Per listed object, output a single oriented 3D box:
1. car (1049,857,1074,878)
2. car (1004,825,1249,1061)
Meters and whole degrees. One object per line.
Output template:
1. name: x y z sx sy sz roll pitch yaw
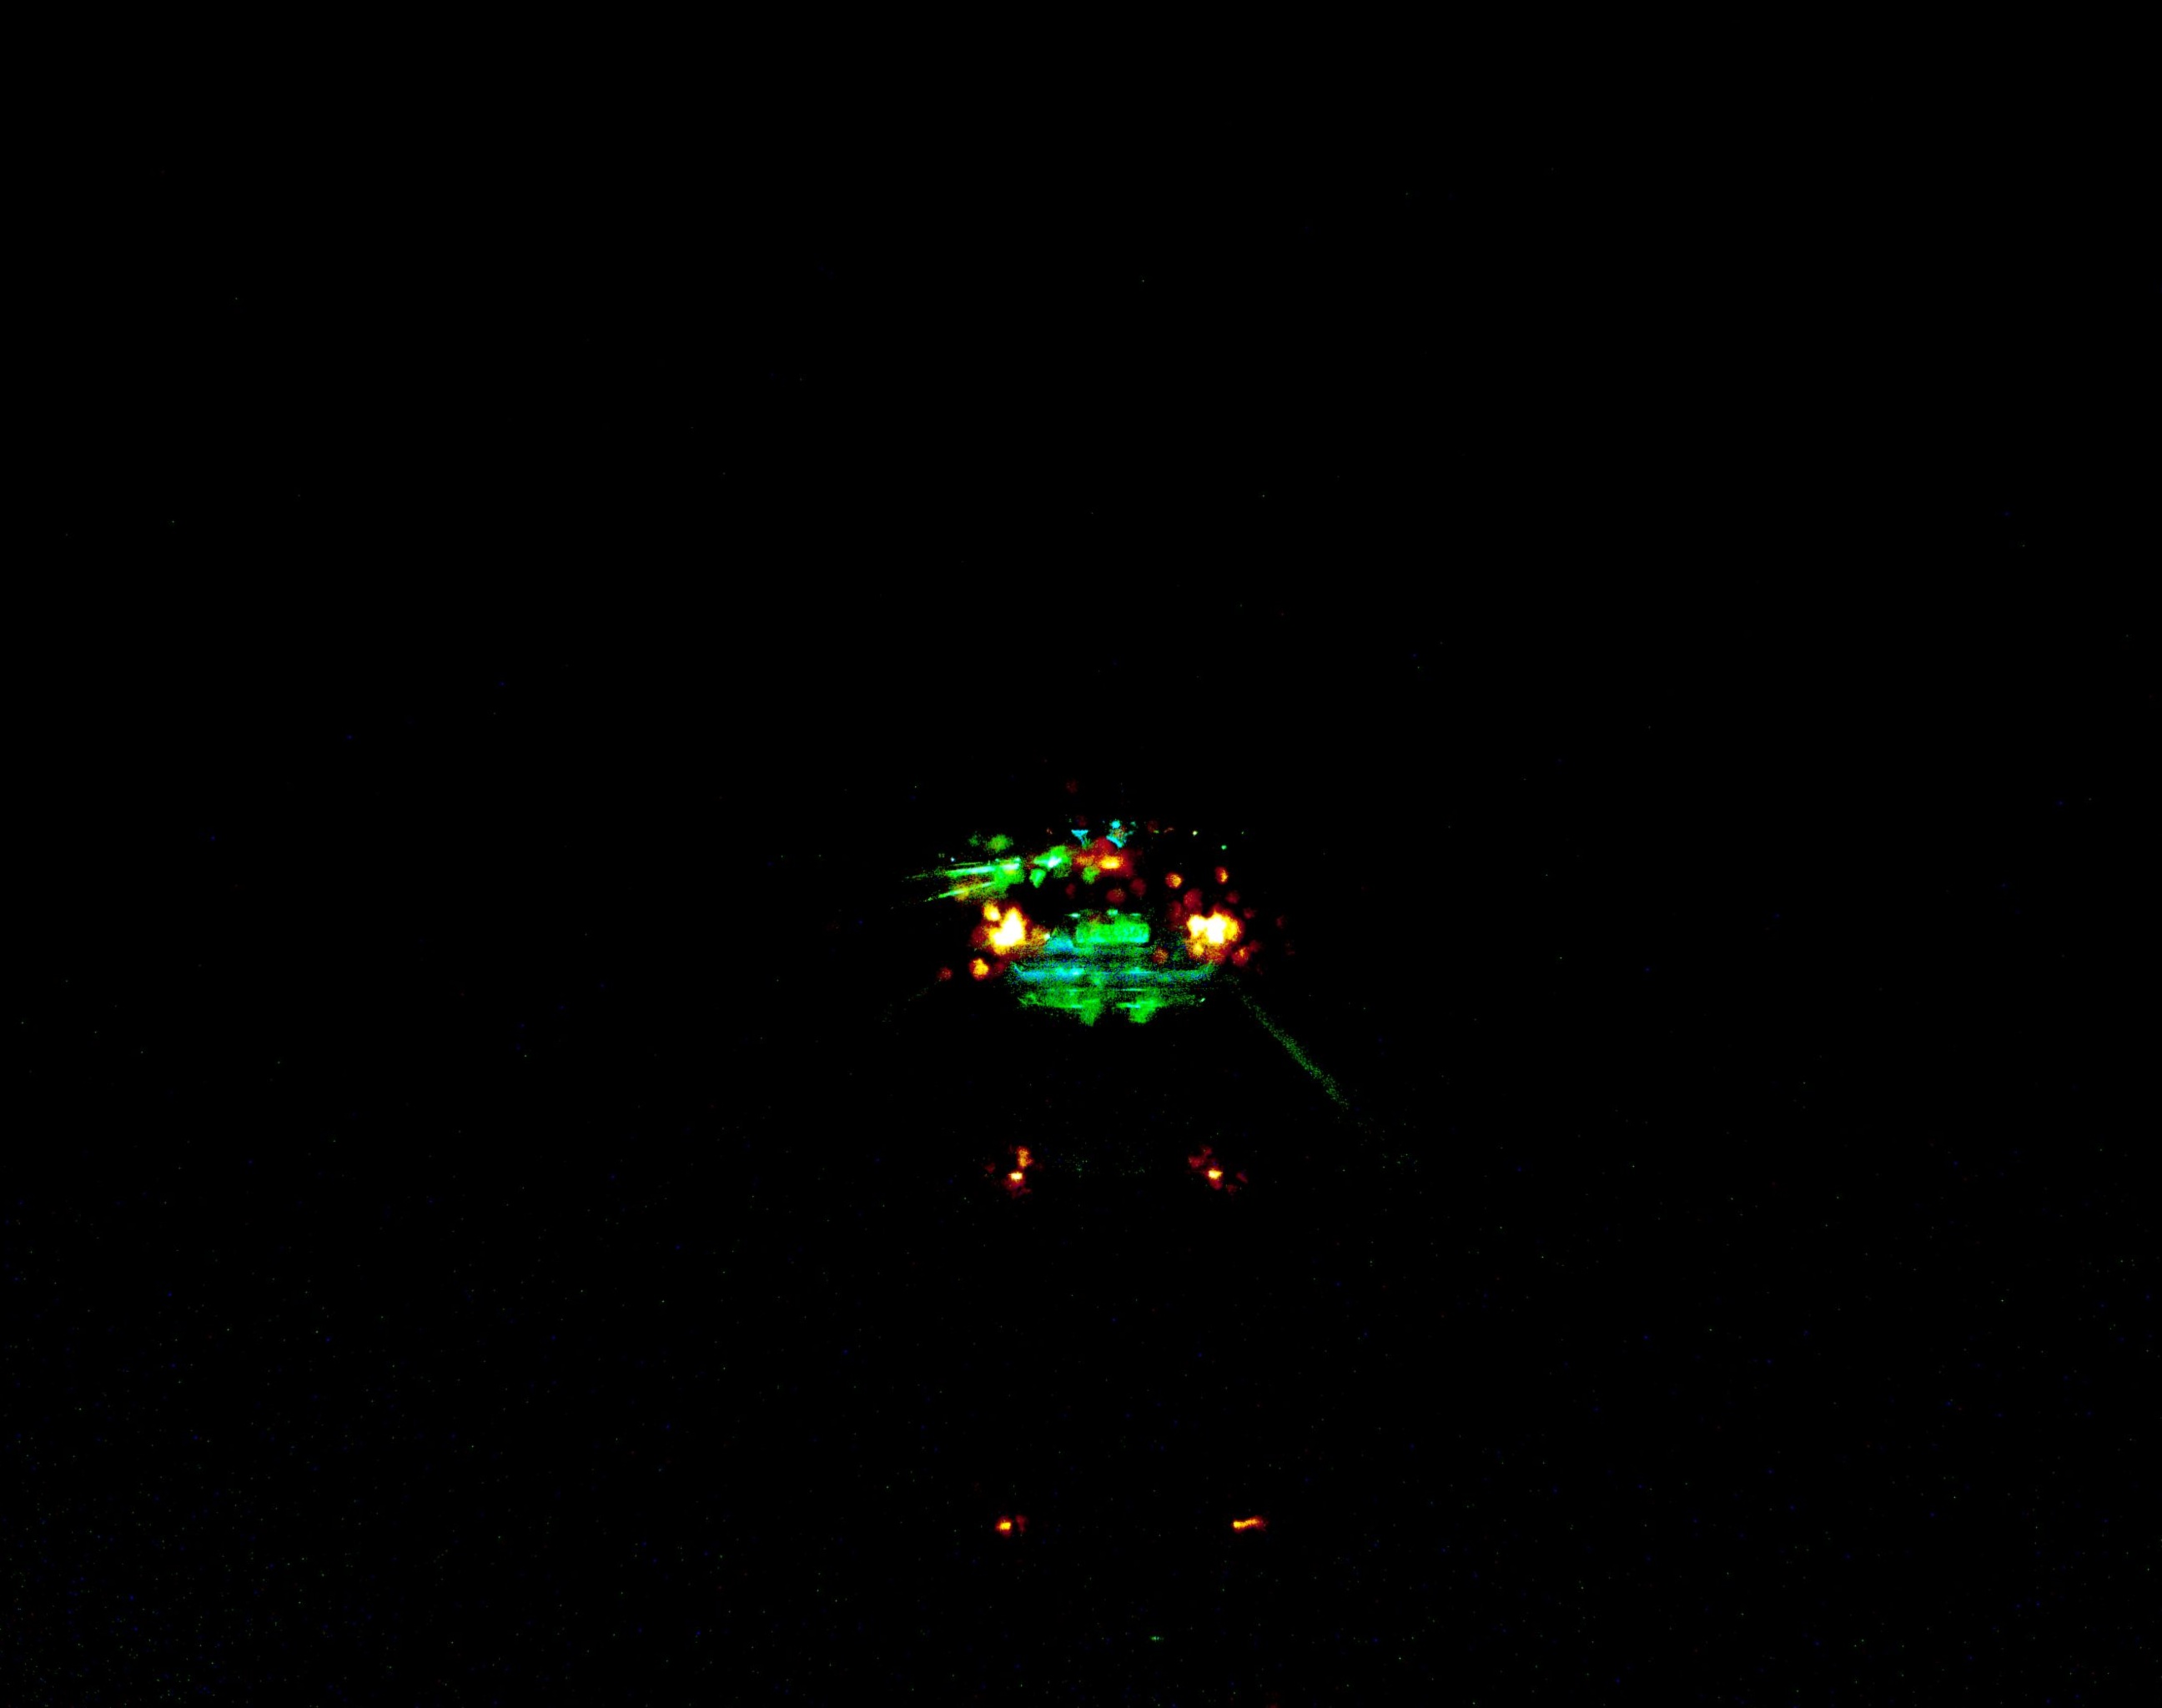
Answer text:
1. car: -1.648 1.117 69.259 1.945 1.656 4.124 -2 0 0
2. car: 0.407 0.641 7.933 1.768 1.712 4.002 0 0 2
